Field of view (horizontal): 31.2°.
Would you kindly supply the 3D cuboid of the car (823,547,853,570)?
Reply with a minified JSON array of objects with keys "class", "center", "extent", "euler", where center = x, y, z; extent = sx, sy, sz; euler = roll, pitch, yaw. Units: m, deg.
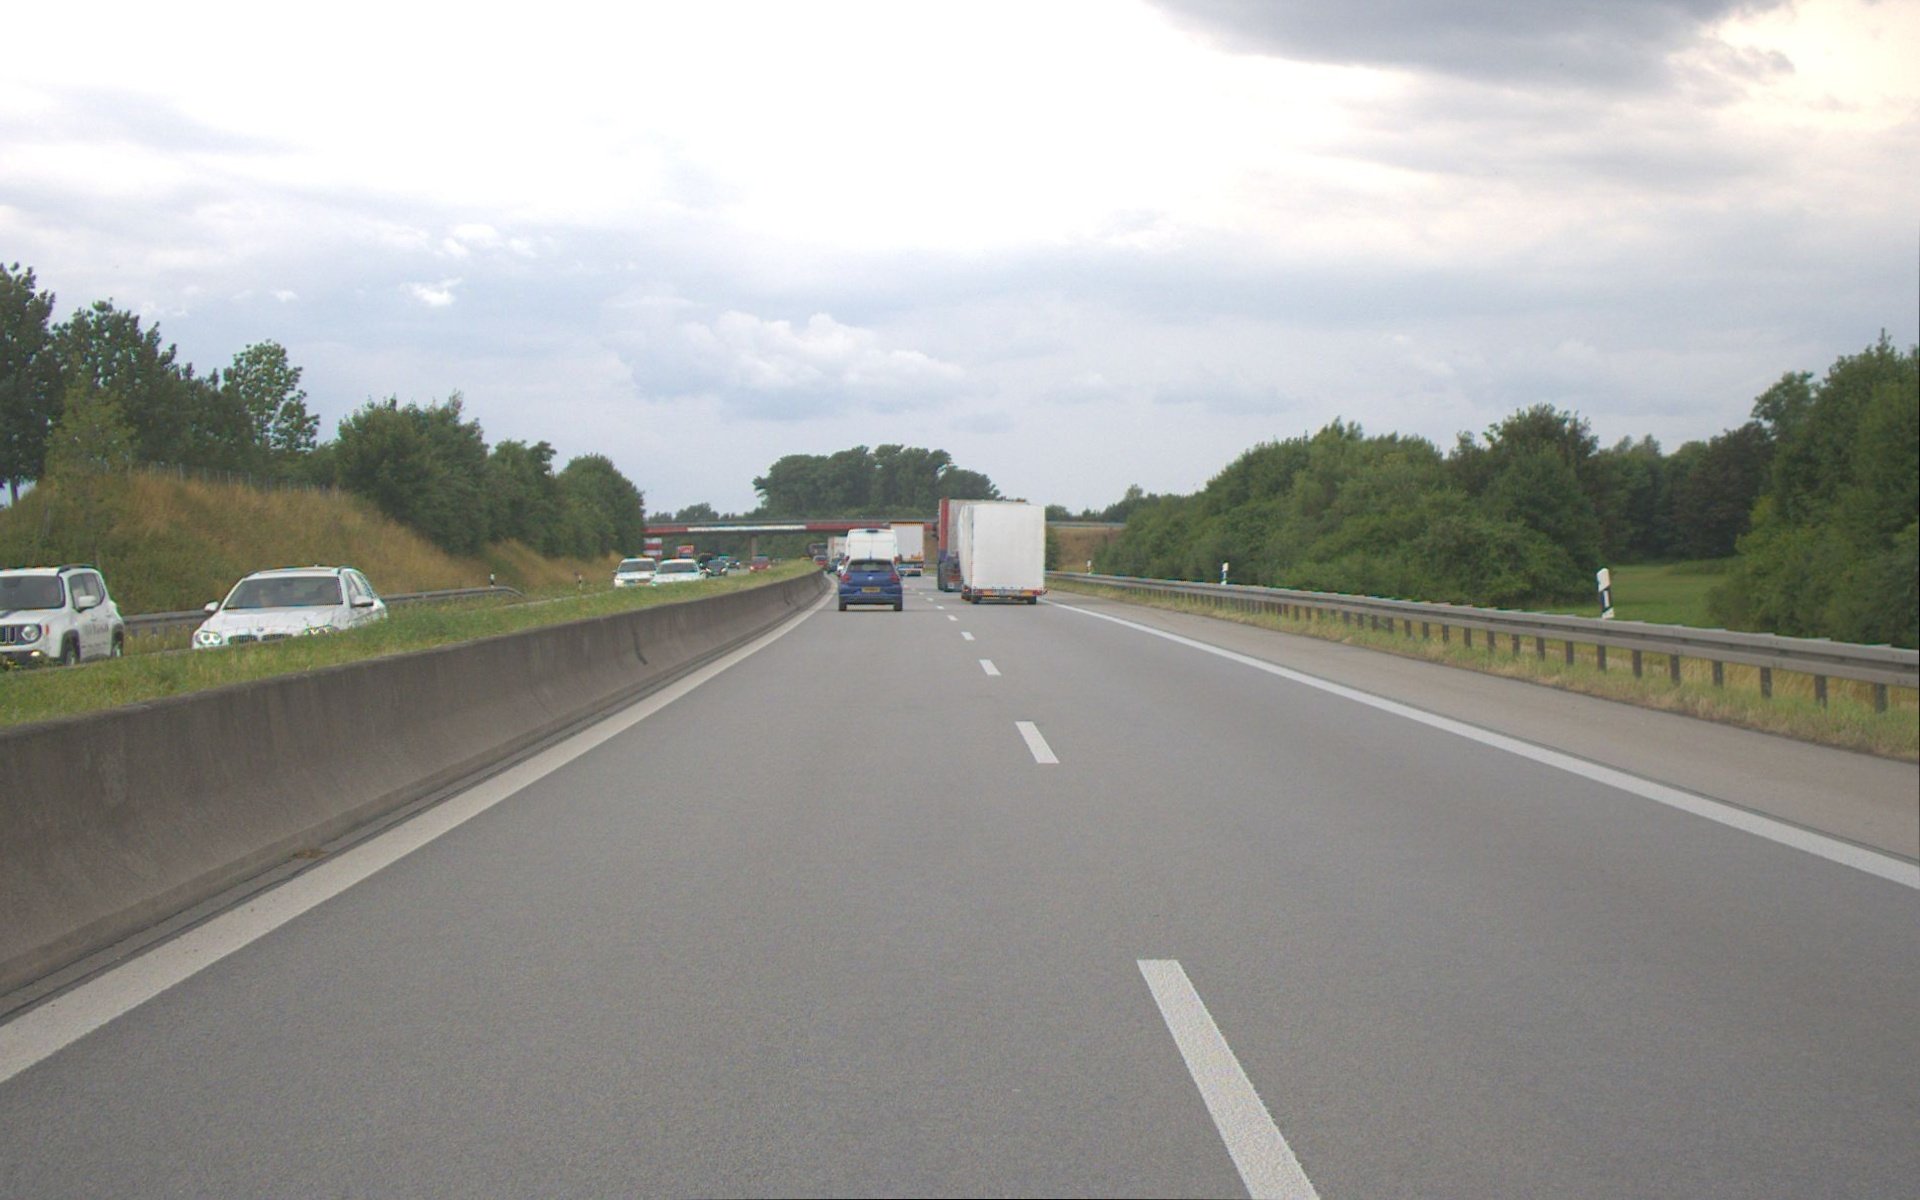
[{"class":"car","center":[-8.699,-2.951,244.832],"extent":[1.993,1.678,4.001],"euler":[0,1,-4]}]

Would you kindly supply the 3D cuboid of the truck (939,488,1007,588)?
[{"class":"truck","center":[0.495,-2.621,145.258],"extent":[2.673,4.032,11.108],"euler":[-1,1,0]}]

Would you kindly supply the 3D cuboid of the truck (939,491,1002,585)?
[{"class":"truck","center":[0.449,-2.729,150.634],"extent":[2.673,4.032,5.512],"euler":[-1,1,0]}]

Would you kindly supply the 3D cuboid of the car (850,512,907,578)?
[{"class":"car","center":[-3.130,-2.095,131.965],"extent":[2.130,2.474,5.840],"euler":[0,1,-2]}]

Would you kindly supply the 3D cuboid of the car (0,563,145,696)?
[{"class":"car","center":[-12.147,0.356,45.053],"extent":[1.836,1.621,4.691],"euler":[-2,1,-1]}]

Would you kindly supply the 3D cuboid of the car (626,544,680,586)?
[{"class":"car","center":[-12.276,-1.415,137.698],"extent":[1.865,1.569,4.694],"euler":[-2,1,-2]}]

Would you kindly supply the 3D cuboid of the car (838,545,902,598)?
[{"class":"car","center":[-2.418,-0.772,92.367],"extent":[1.663,1.402,3.649],"euler":[0,1,-2]}]

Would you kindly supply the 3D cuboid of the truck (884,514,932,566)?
[{"class":"truck","center":[-3.914,-4.470,257.144],"extent":[3.110,3.677,9.324],"euler":[-2,1,-3]}]

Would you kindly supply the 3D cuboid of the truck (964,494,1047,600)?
[{"class":"truck","center":[1.390,-1.644,108.074],"extent":[2.415,3.211,7.144],"euler":[0,1,-1]}]

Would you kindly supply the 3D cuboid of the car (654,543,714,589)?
[{"class":"car","center":[-9.962,-1.260,124.482],"extent":[1.865,1.569,4.990],"euler":[-2,1,-2]}]

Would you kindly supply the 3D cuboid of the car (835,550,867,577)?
[{"class":"car","center":[-6.776,-2.251,214.399],"extent":[1.935,1.638,4.903],"euler":[0,1,-1]}]

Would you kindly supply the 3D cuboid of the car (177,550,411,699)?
[{"class":"car","center":[-8.301,0.260,43.294],"extent":[1.947,1.688,5.175],"euler":[-2,1,-1]}]

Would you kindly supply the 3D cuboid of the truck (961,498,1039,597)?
[{"class":"truck","center":[1.295,-1.735,115.257],"extent":[2.429,3.232,7.247],"euler":[0,1,-1]}]
